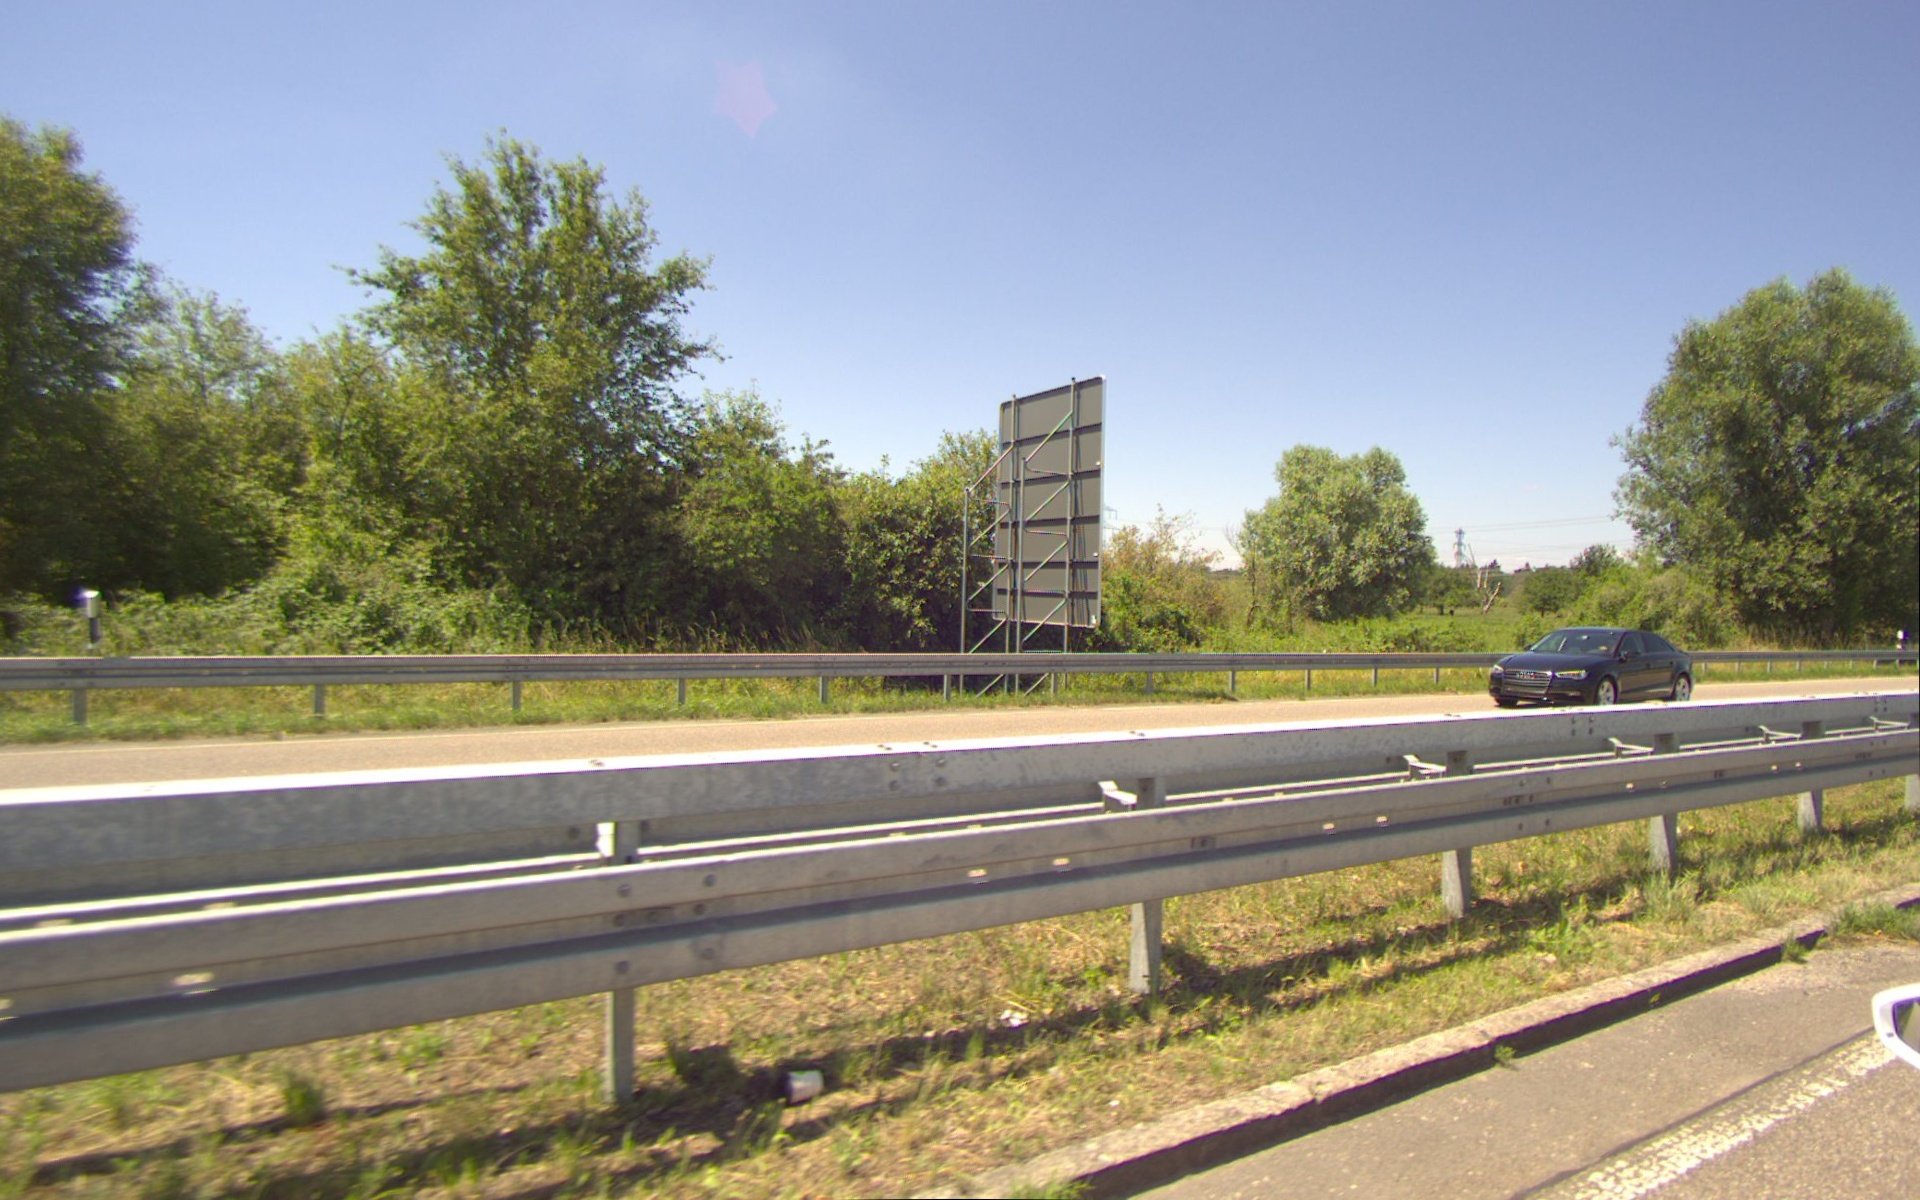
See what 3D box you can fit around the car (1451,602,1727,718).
[{"bbox_3d":[10.940,0.950,17.389,4.816,1.659,1.984,1,3,-30],"label":"car"}]
